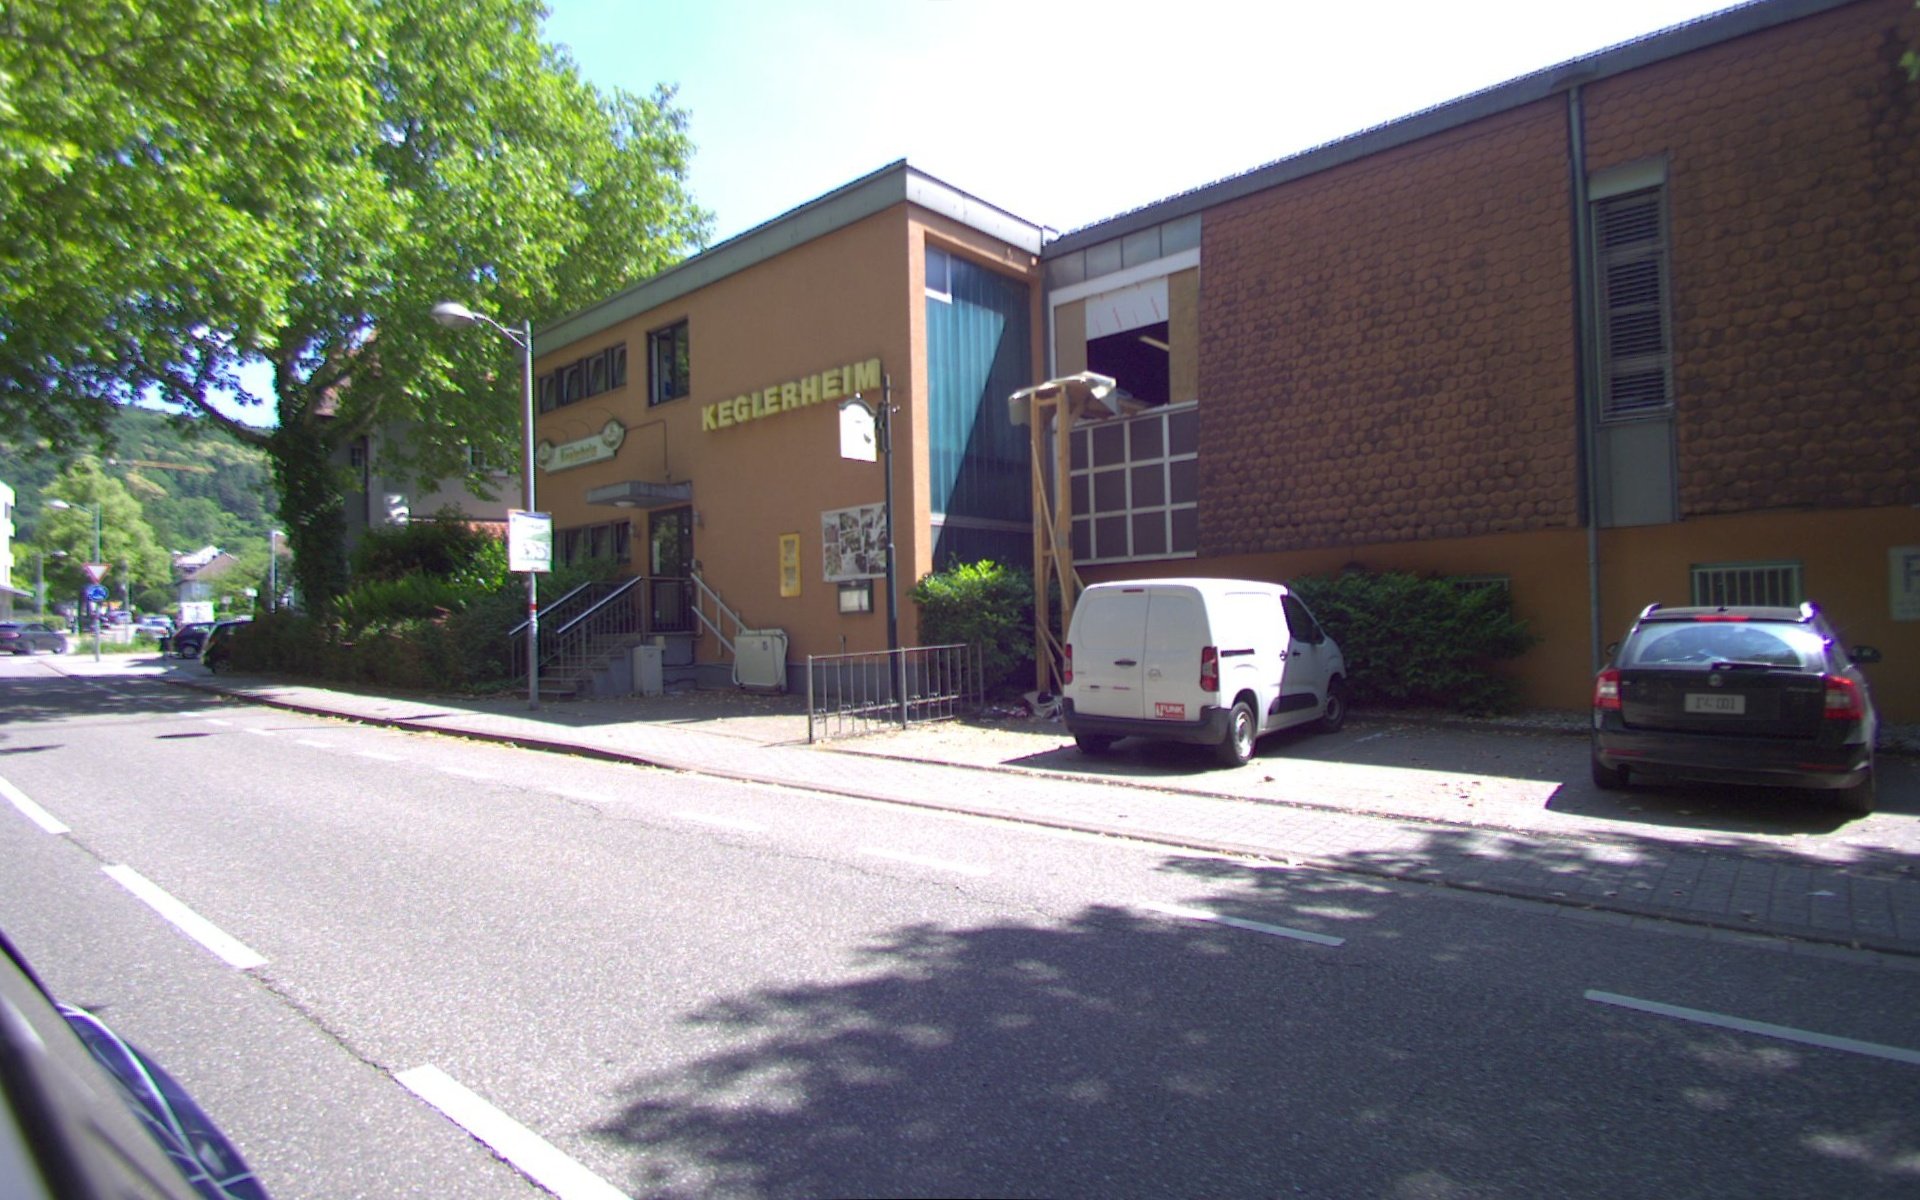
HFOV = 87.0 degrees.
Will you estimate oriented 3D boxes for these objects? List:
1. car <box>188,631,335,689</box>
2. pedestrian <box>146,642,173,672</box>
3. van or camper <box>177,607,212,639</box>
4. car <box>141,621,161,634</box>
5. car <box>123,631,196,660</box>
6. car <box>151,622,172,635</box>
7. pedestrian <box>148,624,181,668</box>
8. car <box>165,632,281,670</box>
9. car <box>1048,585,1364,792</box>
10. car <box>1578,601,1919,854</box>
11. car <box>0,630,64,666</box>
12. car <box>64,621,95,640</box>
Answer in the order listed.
[{"bbox_3d":[-19.974,1.670,28.975,3.338,1.558,1.727,2,-2,-39],"label":"car"},{"bbox_3d":[-30.766,2.186,38.888,0.745,1.130,0.898,2,-3,-42],"label":"pedestrian"},{"bbox_3d":[-67.110,2.007,88.719,2.238,2.658,5.897,-2,0,-38],"label":"van or camper"},{"bbox_3d":[-110.479,3.799,138.173,1.968,1.679,4.007,2,-1,-40],"label":"car"},{"bbox_3d":[-41.382,2.336,52.421,1.581,1.463,4.012,1,-2,-16],"label":"car"},{"bbox_3d":[-103.025,3.681,130.492,1.968,1.679,4.007,2,-1,-40],"label":"car"},{"bbox_3d":[-32.492,1.856,41.349,0.859,1.756,1.116,1,-2,-30],"label":"pedestrian"},{"bbox_3d":[-30.021,2.061,41.272,3.732,1.471,1.727,2,-3,-39],"label":"car"},{"bbox_3d":[2.821,0.771,10.979,1.866,1.806,3.949,-1,0,38],"label":"car"},{"bbox_3d":[6.452,0.802,8.336,1.866,1.527,3.949,-1,0,38],"label":"car"},{"bbox_3d":[-39.916,2.009,42.683,1.744,1.437,4.407,1,-2,-22],"label":"car"},{"bbox_3d":[-70.060,2.439,80.552,1.728,1.516,3.999,1,-2,-39],"label":"car"}]
